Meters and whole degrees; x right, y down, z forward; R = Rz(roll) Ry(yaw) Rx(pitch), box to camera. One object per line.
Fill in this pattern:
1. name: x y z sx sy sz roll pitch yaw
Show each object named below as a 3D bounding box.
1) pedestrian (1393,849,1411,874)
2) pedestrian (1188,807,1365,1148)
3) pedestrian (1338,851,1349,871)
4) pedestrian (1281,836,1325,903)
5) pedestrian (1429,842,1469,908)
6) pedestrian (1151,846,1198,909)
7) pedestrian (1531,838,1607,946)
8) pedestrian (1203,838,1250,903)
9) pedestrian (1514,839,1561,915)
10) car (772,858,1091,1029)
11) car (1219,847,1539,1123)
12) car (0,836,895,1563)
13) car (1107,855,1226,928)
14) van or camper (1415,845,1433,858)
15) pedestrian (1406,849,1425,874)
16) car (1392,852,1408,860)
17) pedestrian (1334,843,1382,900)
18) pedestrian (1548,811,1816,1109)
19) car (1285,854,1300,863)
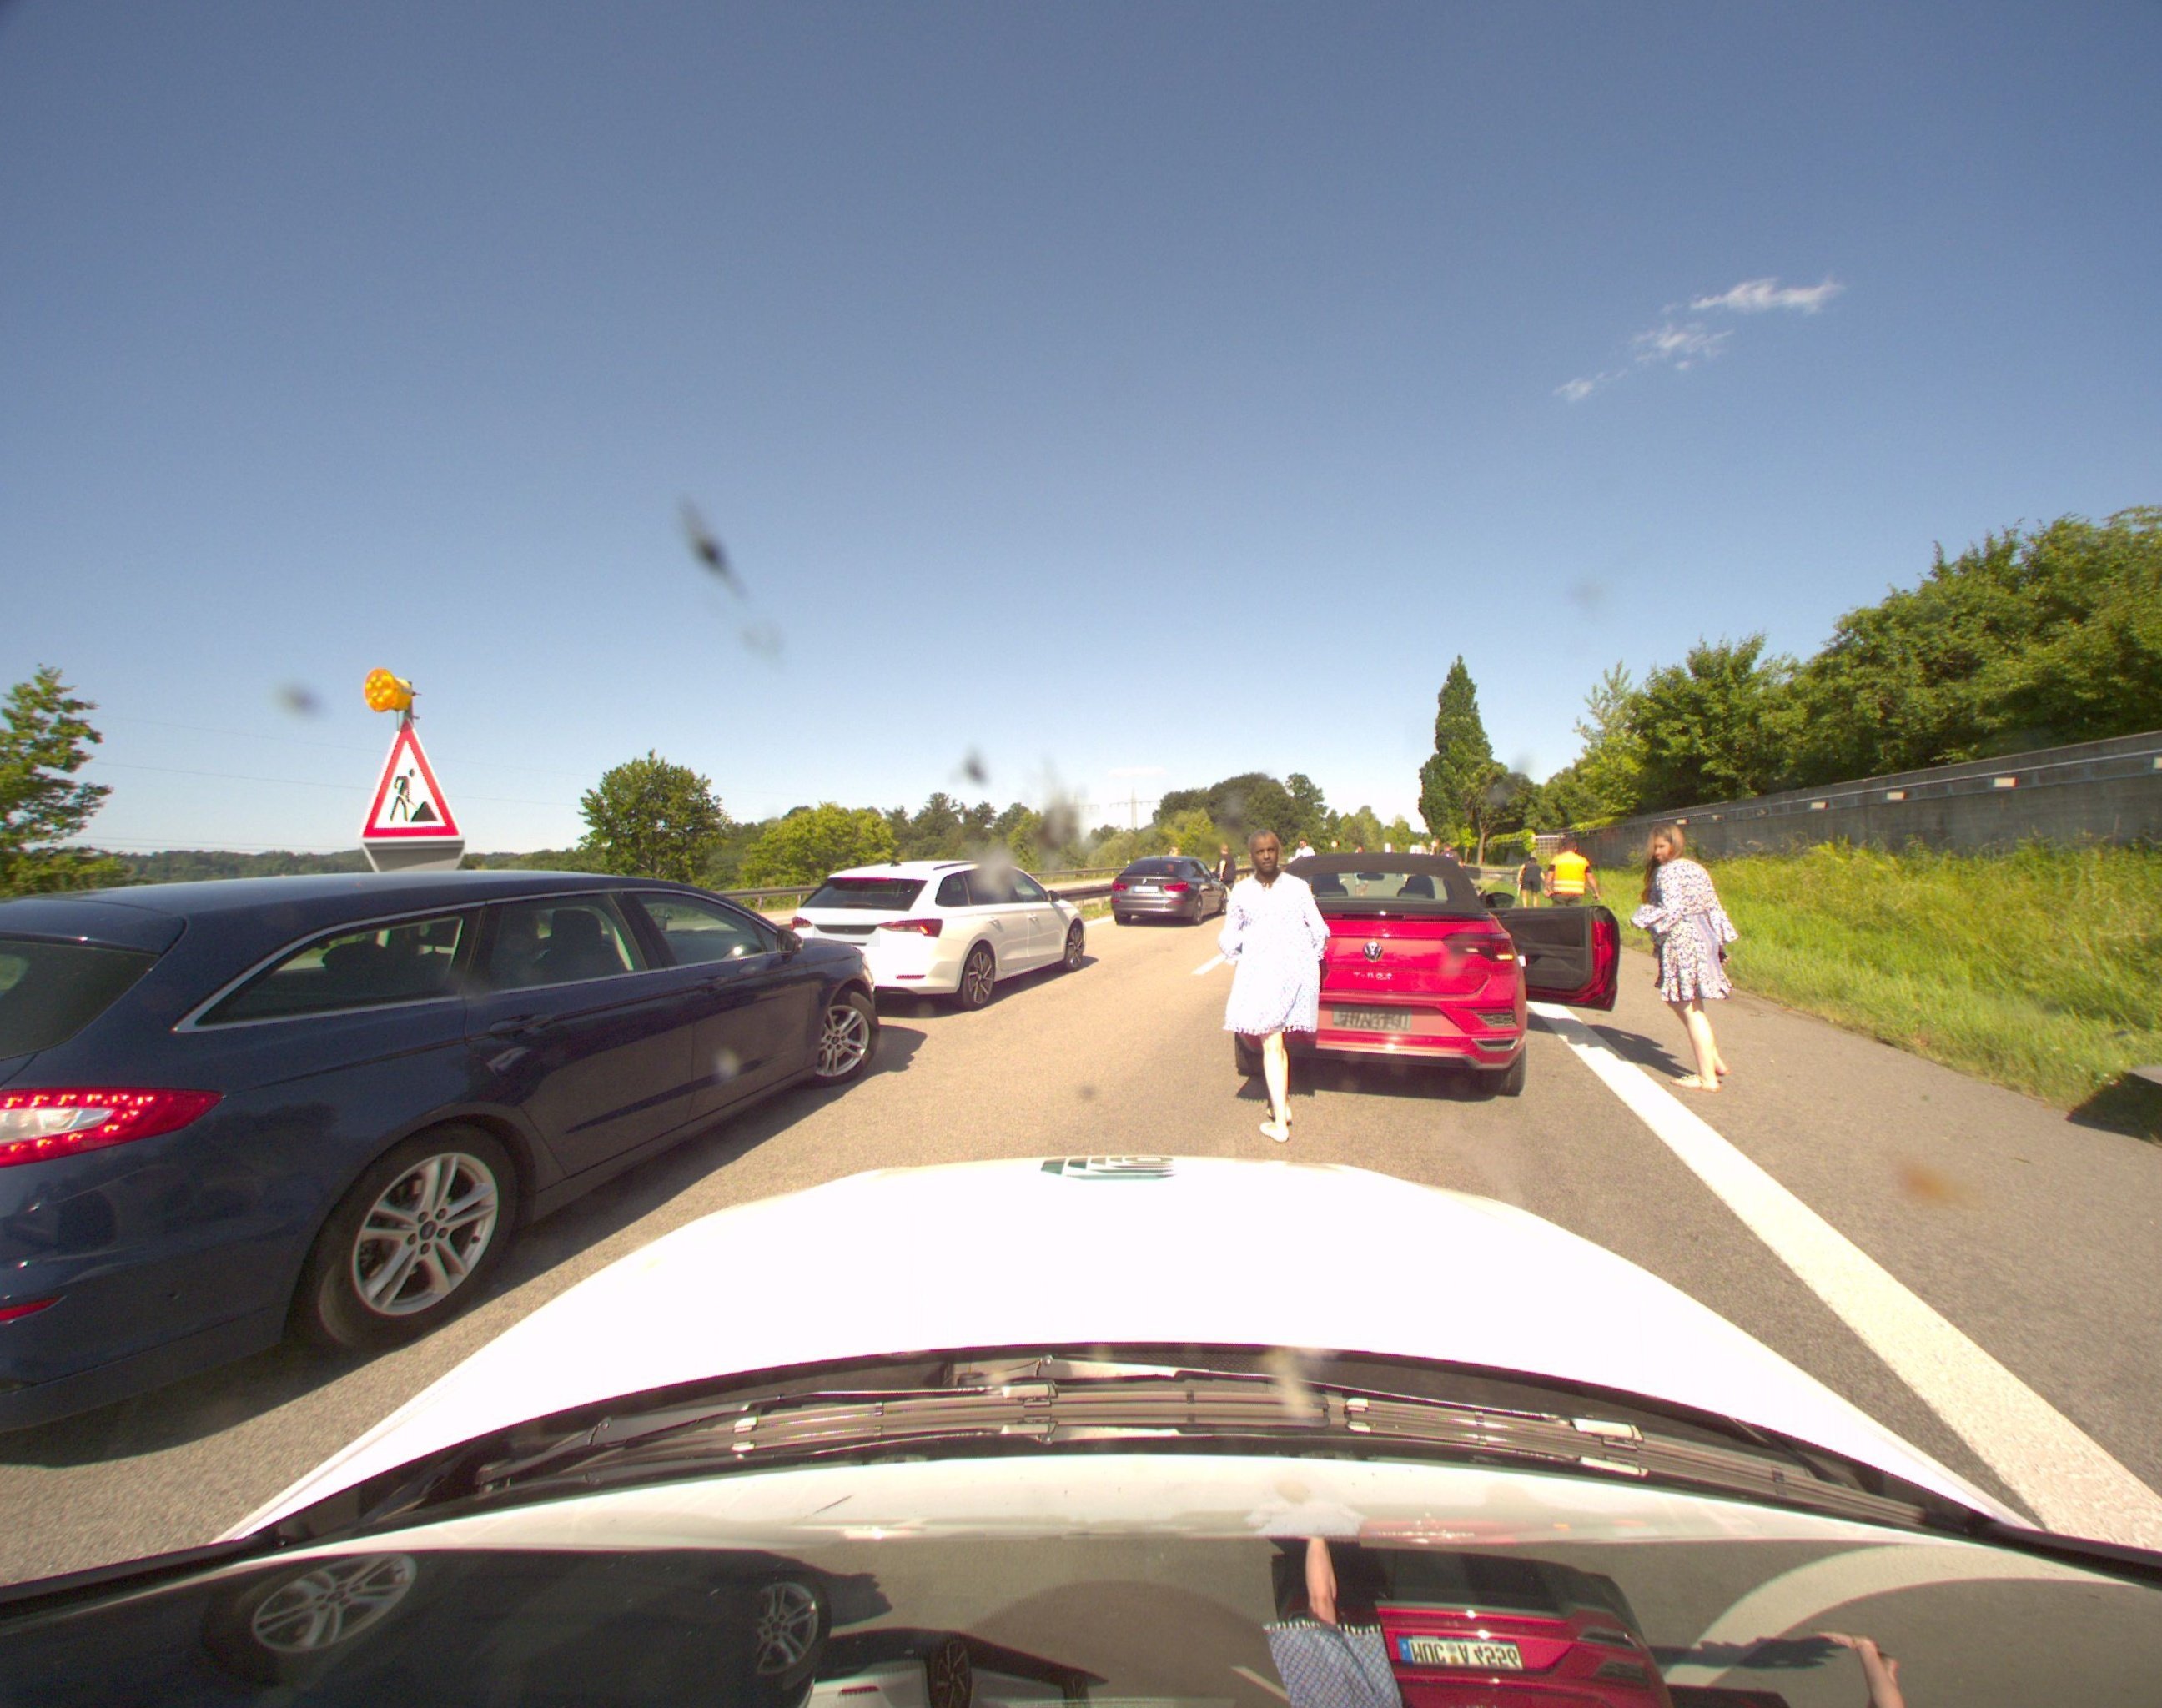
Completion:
1. pedestrian: 22.556 0.511 57.208 1.046 1.689 1.023 0 -1 26
2. pedestrian: 1.104 0.616 4.508 0.832 1.683 0.747 -2 -1 20
3. pedestrian: 22.344 0.560 69.385 0.784 1.689 0.797 0 -1 25
4. pedestrian: 6.551 0.451 24.097 1.098 1.912 1.261 -2 -1 11
5. pedestrian: 9.894 0.552 21.918 0.806 1.759 0.830 0 -1 11
6. pedestrian: 2.723 0.668 23.653 1.031 1.763 1.124 -2 -1 22
7. pedestrian: 7.903 0.582 13.247 0.948 1.654 1.286 -2 -1 28
8. pedestrian: 4.352 0.484 24.276 1.055 1.883 1.100 -2 -1 26
9. pedestrian: 10.533 0.518 18.816 0.887 1.725 0.758 0 -1 23
10. car: -1.371 0.785 9.317 1.680 1.441 4.231 0 0 20
11. car: 2.374 0.699 6.666 1.718 1.487 4.231 0 0 20
12. car: -2.695 0.733 3.954 1.776 1.493 4.507 -2 0 11
13. car: 2.070 0.755 18.540 1.680 1.426 4.355 0 0 20
14. van or camper: 62.132 -0.435 147.598 1.974 2.316 4.498 0 0 37
15. pedestrian: 22.840 0.505 55.568 1.103 1.689 0.979 0 -1 26
16. car: 59.312 0.295 151.413 1.716 1.487 4.237 0 0 36
17. pedestrian: 8.949 0.547 26.361 1.087 1.788 1.105 0 0 -8
18. pedestrian: 3.915 0.605 5.361 0.895 1.695 1.117 -1 -1 -30
19. car: 32.723 0.671 126.071 1.680 1.426 4.327 0 0 21
